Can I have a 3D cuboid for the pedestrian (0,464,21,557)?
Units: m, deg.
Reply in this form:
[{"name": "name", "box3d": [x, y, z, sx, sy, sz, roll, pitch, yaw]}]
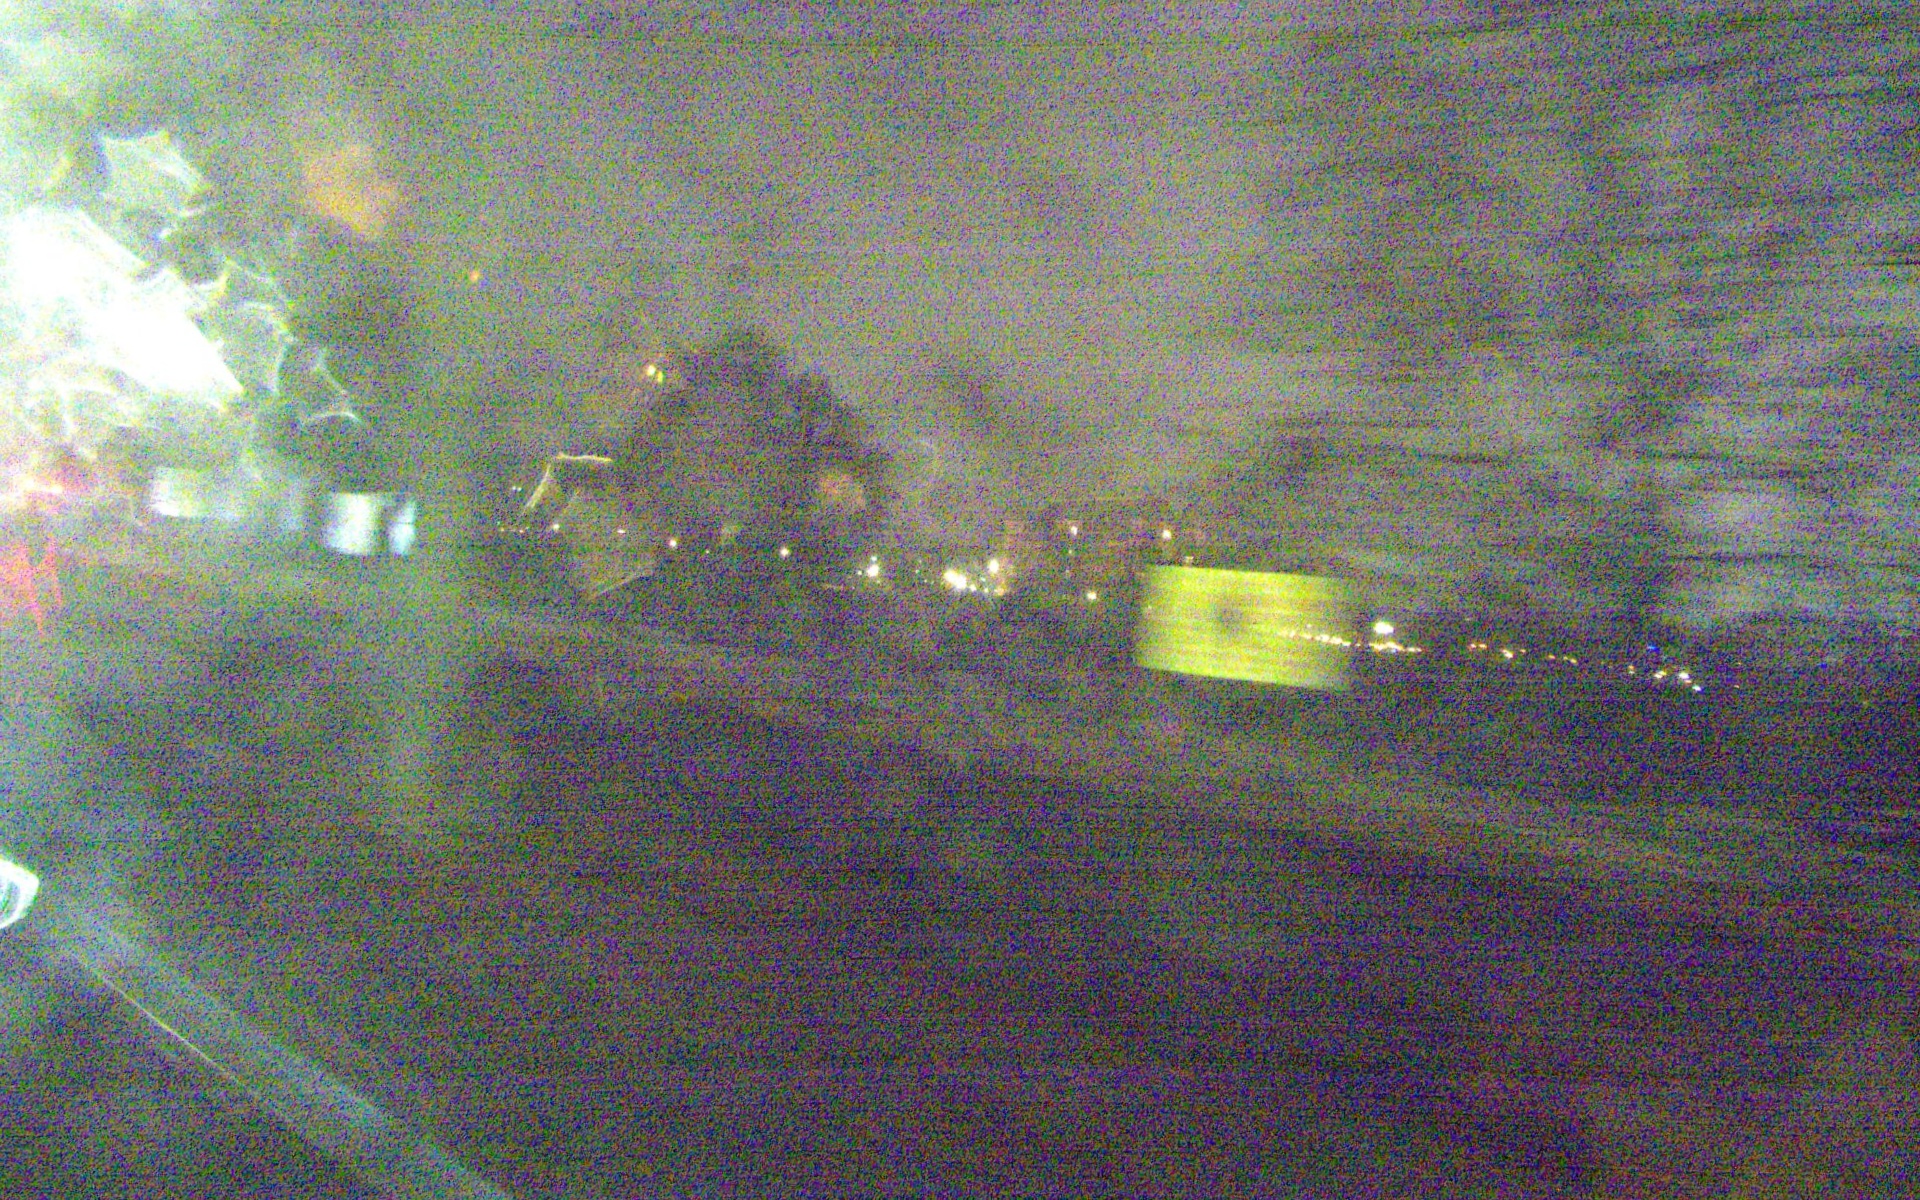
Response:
[{"name": "pedestrian", "box3d": [-19.977, -1.900, 20.145, 1.465, 1.815, 1.229, 7, 0, 31]}]
